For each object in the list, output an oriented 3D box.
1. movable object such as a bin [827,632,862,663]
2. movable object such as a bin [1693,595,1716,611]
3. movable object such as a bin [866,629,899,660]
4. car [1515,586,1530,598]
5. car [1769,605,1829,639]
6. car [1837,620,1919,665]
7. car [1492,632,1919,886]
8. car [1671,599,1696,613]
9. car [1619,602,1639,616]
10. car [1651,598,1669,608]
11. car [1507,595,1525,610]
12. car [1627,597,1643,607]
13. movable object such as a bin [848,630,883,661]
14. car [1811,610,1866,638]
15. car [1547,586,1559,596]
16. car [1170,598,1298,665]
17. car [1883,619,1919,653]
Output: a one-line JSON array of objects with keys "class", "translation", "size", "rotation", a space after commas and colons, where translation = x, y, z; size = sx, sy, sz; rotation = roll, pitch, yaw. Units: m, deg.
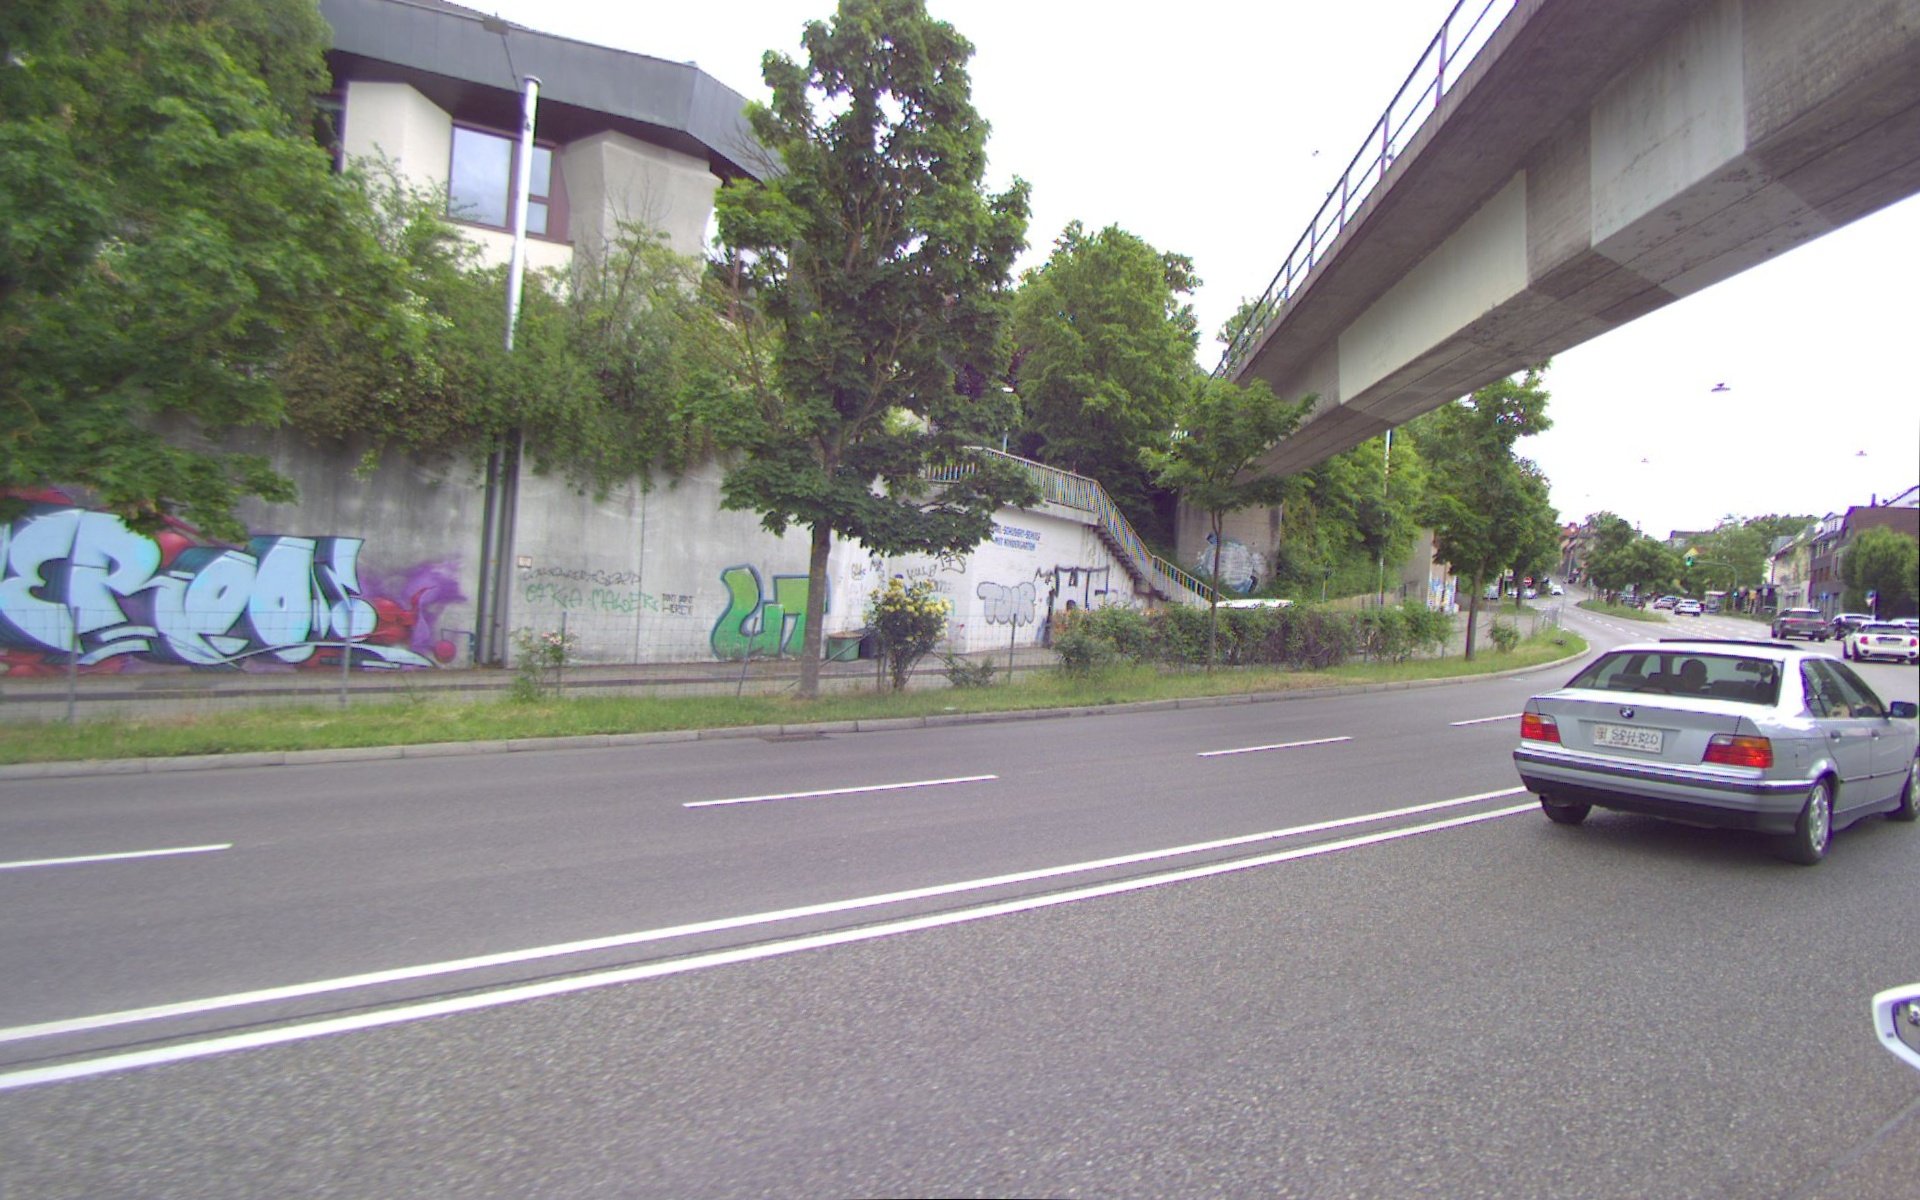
[{"class": "movable object such as a bin", "translation": [-2.730, 1.115, 23.653], "size": [0.550, 0.649, 0.579], "rotation": [6, 5, 35]}, {"class": "movable object such as a bin", "translation": [96.590, 0.358, 130.377], "size": [1.861, 1.895, 1.527], "rotation": [6, 4, 22]}, {"class": "movable object such as a bin", "translation": [-1.913, 1.094, 24.783], "size": [0.550, 0.649, 0.579], "rotation": [6, 5, 35]}, {"class": "car", "translation": [82.949, -1.190, 148.177], "size": [1.832, 1.615, 4.272], "rotation": [7, 4, 28]}, {"class": "car", "translation": [43.883, 1.117, 52.619], "size": [1.697, 1.662, 3.451], "rotation": [2, 1, 28]}, {"class": "car", "translation": [32.425, 1.457, 35.559], "size": [1.700, 1.394, 3.444], "rotation": [2, 1, 36]}, {"class": "car", "translation": [6.031, 0.984, 7.756], "size": [4.577, 1.401, 1.622], "rotation": [2, -1, -37]}, {"class": "car", "translation": [74.954, 0.585, 104.052], "size": [1.697, 1.394, 3.450], "rotation": [2, 1, 30]}, {"class": "car", "translation": [83.513, 1.109, 125.414], "size": [1.697, 1.604, 3.451], "rotation": [2, 1, 28]}, {"class": "car", "translation": [98.081, 0.403, 140.714], "size": [1.697, 1.394, 3.450], "rotation": [2, 1, 30]}, {"class": "car", "translation": [71.683, 0.303, 129.465], "size": [1.832, 1.692, 4.272], "rotation": [7, 4, 28]}, {"class": "car", "translation": [96.581, 0.286, 143.757], "size": [1.697, 1.394, 3.450], "rotation": [2, 1, 30]}, {"class": "movable object such as a bin", "translation": [-2.277, 1.097, 24.226], "size": [0.550, 0.649, 0.579], "rotation": [6, 5, 35]}, {"class": "car", "translation": [48.778, 1.312, 55.838], "size": [1.698, 1.394, 3.448], "rotation": [2, 1, 31]}, {"class": "car", "translation": [113.137, -1.745, 191.687], "size": [1.833, 1.692, 4.271], "rotation": [7, 4, 29]}, {"class": "car", "translation": [8.121, 0.881, 29.525], "size": [1.748, 1.809, 4.438], "rotation": [0, -1, 44]}, {"class": "car", "translation": [41.767, 1.569, 43.861], "size": [1.700, 1.394, 3.444], "rotation": [2, 1, 36]}]
